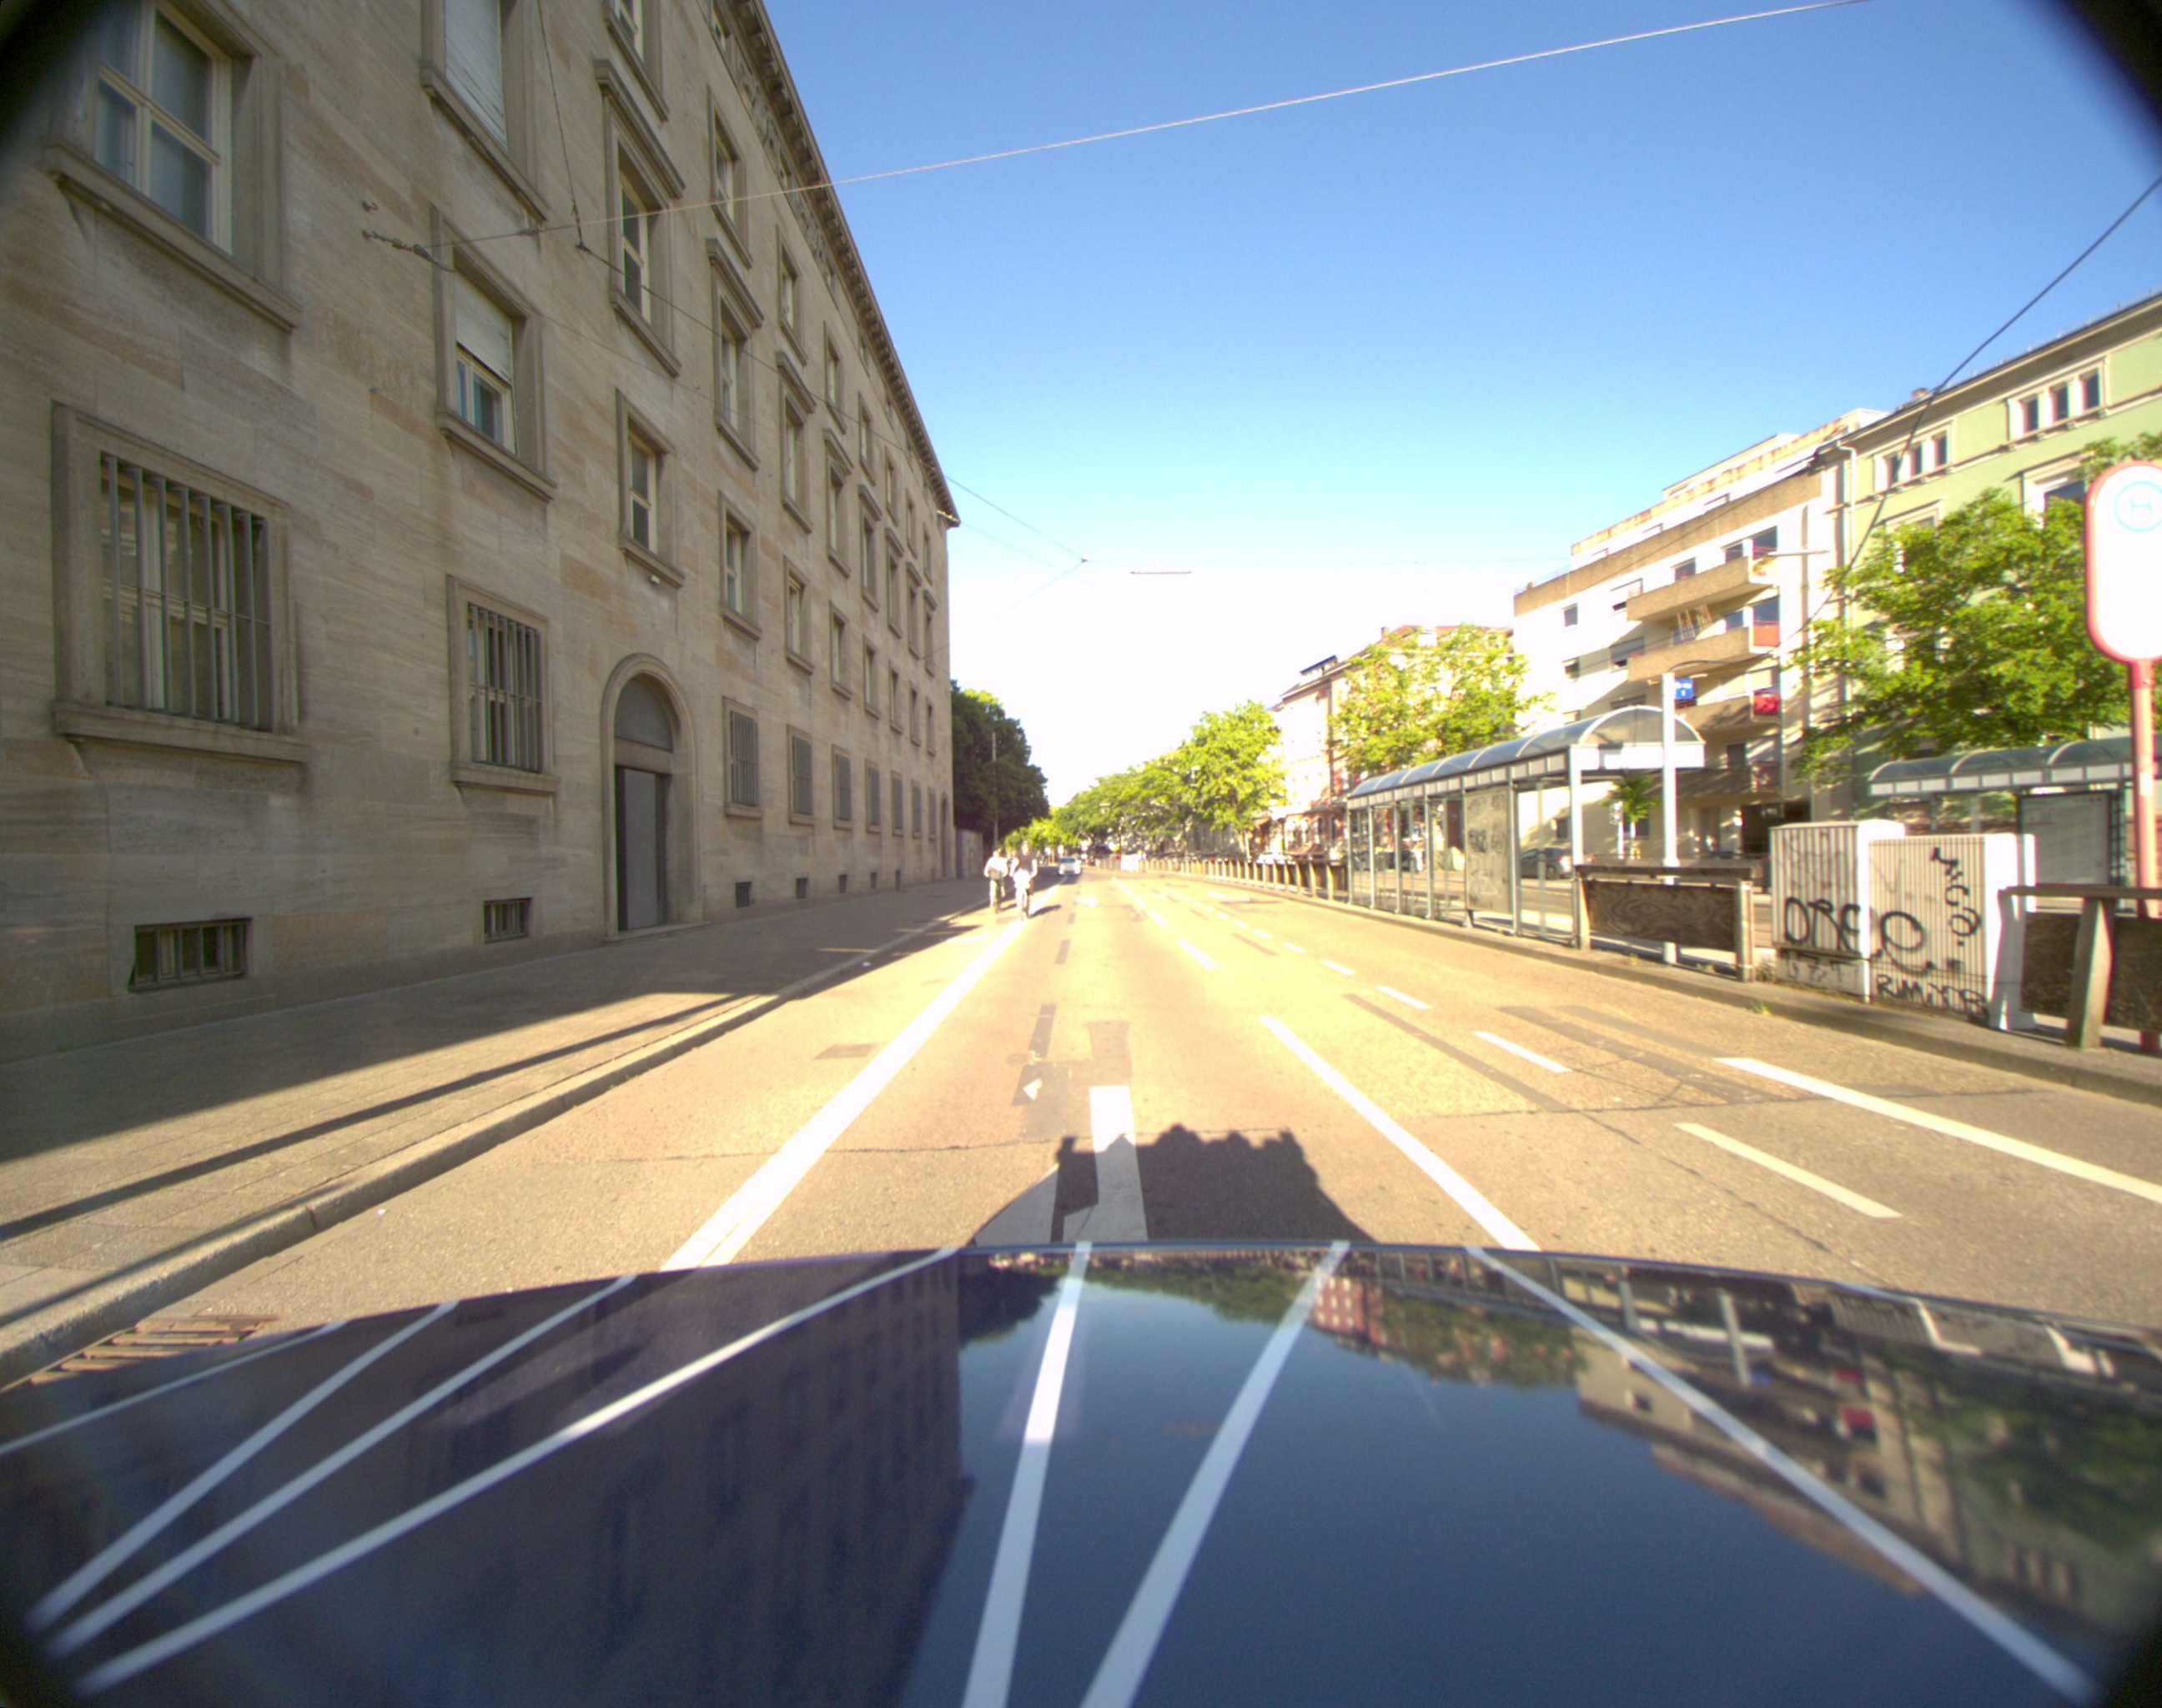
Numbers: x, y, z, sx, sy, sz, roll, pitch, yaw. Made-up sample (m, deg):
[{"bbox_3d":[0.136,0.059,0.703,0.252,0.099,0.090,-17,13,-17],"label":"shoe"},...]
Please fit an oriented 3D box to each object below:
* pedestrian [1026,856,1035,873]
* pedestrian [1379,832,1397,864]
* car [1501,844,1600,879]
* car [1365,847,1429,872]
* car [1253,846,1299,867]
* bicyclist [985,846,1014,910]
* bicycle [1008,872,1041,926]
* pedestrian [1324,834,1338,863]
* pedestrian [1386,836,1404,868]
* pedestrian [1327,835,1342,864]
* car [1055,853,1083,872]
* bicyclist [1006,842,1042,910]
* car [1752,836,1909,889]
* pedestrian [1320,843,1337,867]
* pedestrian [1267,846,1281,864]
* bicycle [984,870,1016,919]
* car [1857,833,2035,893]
[{"bbox_3d":[-3.927,0.828,58.781,0.548,1.327,0.587,-1,1,7],"label":"pedestrian"},{"bbox_3d":[21.153,-0.398,52.333,0.813,2.194,0.756,-1,1,-10],"label":"pedestrian"},{"bbox_3d":[20.926,0.317,34.022,1.654,1.419,3.737,-1,0,-11],"label":"car"},{"bbox_3d":[18.498,0.328,44.702,1.609,1.388,3.996,-1,0,-9],"label":"car"},{"bbox_3d":[16.320,0.184,63.604,4.134,1.698,1.848,-1,1,-45],"label":"car"},{"bbox_3d":[-2.253,0.664,21.155,0.625,1.729,0.688,-3,1,1],"label":"bicyclist"},{"bbox_3d":[-1.326,1.036,18.046,0.625,1.167,1.566,-2,0,1],"label":"bicycle"},{"bbox_3d":[19.486,-0.412,59.222,0.812,2.194,0.756,-1,1,-4],"label":"pedestrian"},{"bbox_3d":[21.273,-0.139,51.485,0.813,2.194,0.756,-1,1,-10],"label":"pedestrian"},{"bbox_3d":[19.260,-0.346,57.783,0.813,2.194,0.756,-1,1,-10],"label":"pedestrian"},{"bbox_3d":[-0.998,0.627,59.242,1.772,1.429,3.831,-1,0,-7],"label":"car"},{"bbox_3d":[-1.338,0.512,18.041,0.728,1.570,0.775,-2,1,1],"label":"bicyclist"},{"bbox_3d":[23.932,0.241,24.300,4.002,1.573,1.761,-1,0,-14],"label":"car"},{"bbox_3d":[18.007,0.053,55.308,0.855,1.710,1.019,-1,1,-8],"label":"pedestrian"},{"bbox_3d":[17.702,0.051,69.770,0.869,1.619,0.890,-1,1,-15],"label":"pedestrian"},{"bbox_3d":[-2.228,1.101,21.104,0.625,1.214,1.659,-3,1,1],"label":"bicycle"},{"bbox_3d":[24.730,0.239,21.759,4.002,1.573,1.761,-1,0,-14],"label":"car"}]
